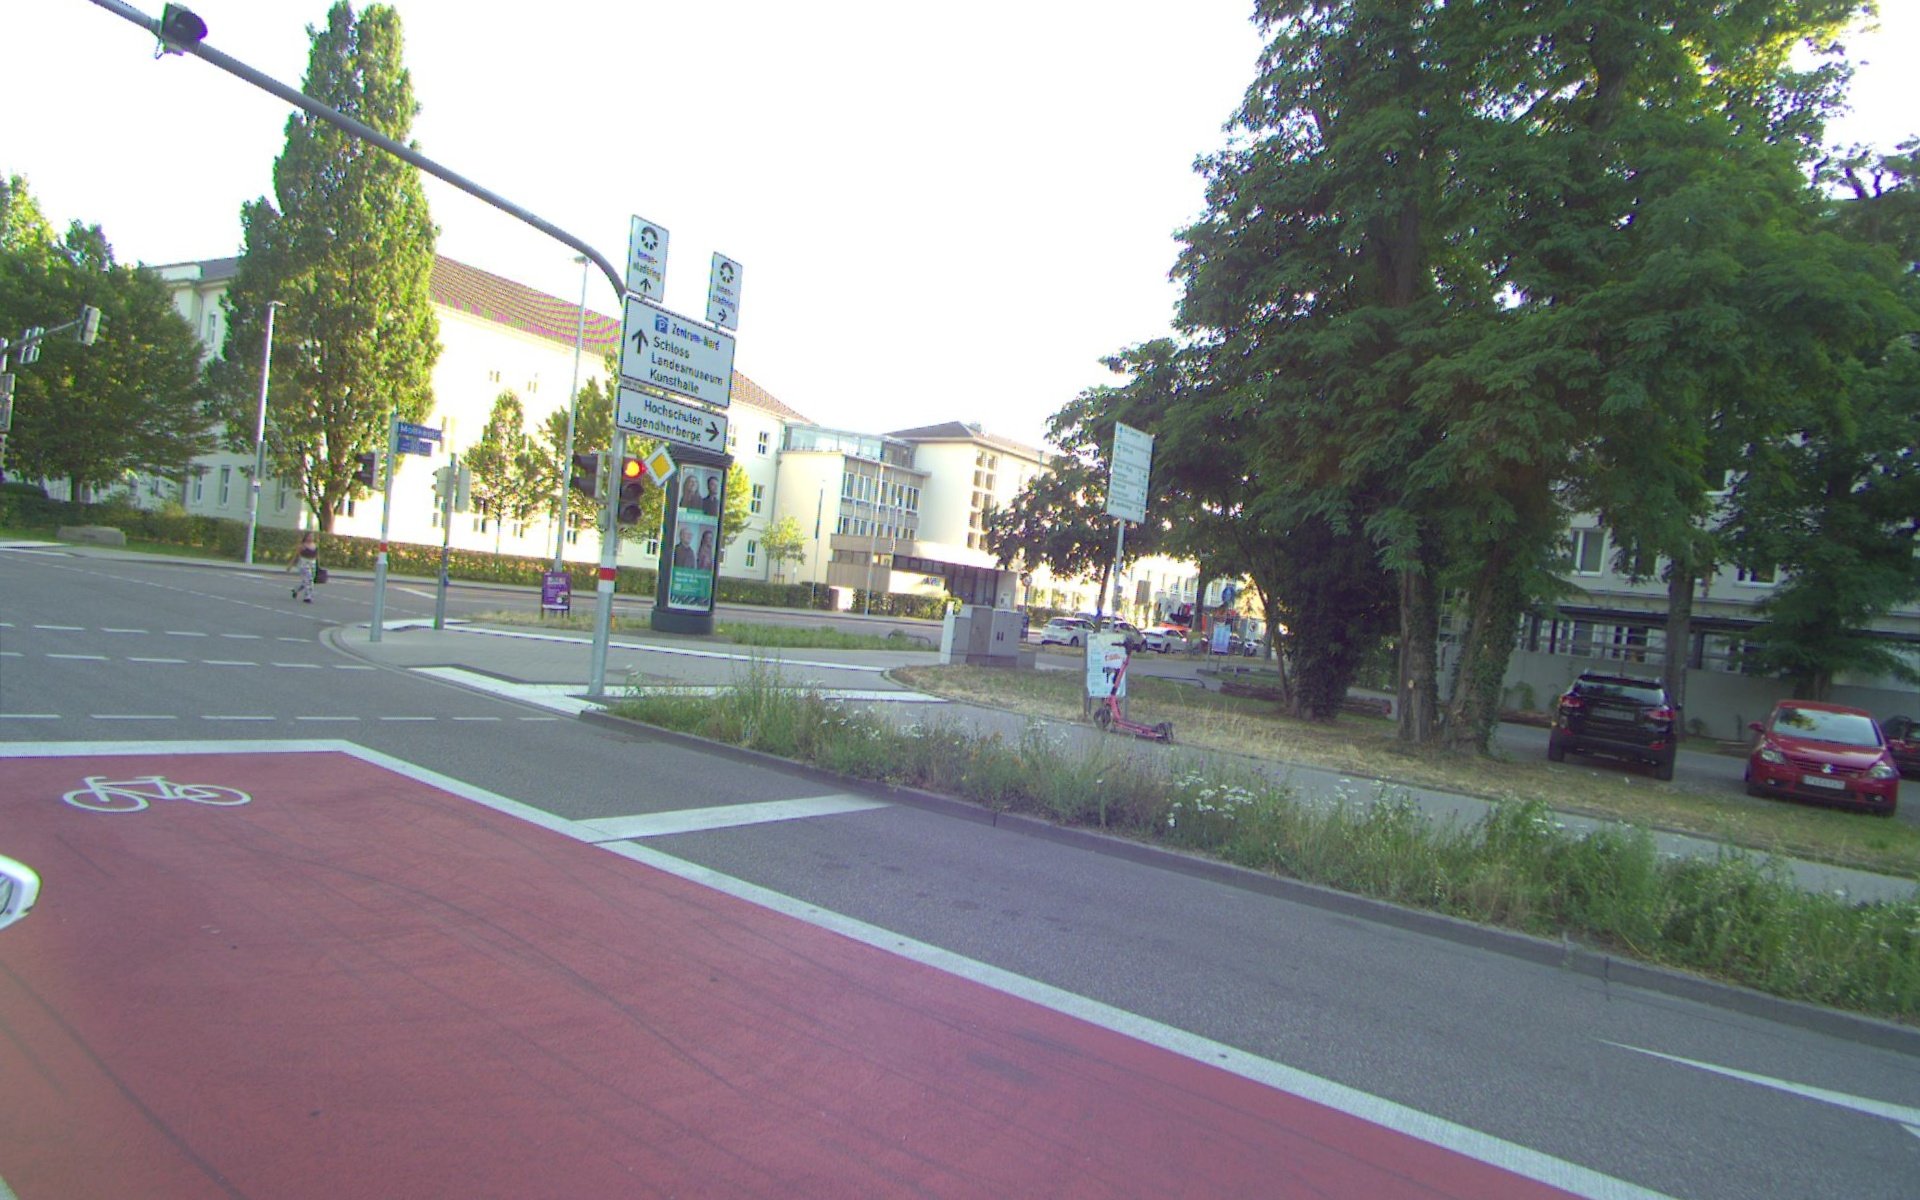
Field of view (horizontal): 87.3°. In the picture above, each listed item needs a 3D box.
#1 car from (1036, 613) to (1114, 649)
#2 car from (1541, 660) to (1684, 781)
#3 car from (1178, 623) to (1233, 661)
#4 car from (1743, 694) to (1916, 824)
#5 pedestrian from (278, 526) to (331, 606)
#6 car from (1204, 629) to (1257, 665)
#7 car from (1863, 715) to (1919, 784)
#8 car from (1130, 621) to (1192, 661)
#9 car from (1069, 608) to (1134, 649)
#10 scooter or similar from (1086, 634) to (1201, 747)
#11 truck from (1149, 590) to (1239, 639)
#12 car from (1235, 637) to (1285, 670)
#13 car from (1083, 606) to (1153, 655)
[{"bbox_3d":[5.474,1.490,47.708,1.793,1.358,3.985,6,0,37],"label":"car"},{"bbox_3d":[11.761,2.109,18.064,1.808,1.715,3.899,7,-1,36],"label":"car"},{"bbox_3d":[14.604,2.494,59.728,1.698,1.879,3.989,7,-1,35],"label":"car"},{"bbox_3d":[13.990,2.452,16.403,1.759,1.581,3.984,7,0,38],"label":"car"},{"bbox_3d":[-14.430,-0.749,22.135,0.680,1.656,0.600,8,1,33],"label":"pedestrian"},{"bbox_3d":[17.219,3.030,63.858,1.789,1.893,4.136,7,-1,35],"label":"car"},{"bbox_3d":[23.176,3.619,24.032,1.873,1.459,3.987,7,-1,37],"label":"car"},{"bbox_3d":[11.071,2.268,55.105,1.720,1.783,3.989,7,-1,35],"label":"car"},{"bbox_3d":[7.811,1.589,55.263,1.720,1.783,3.989,7,-1,35],"label":"car"},{"bbox_3d":[2.325,1.134,12.808,1.289,1.247,0.311,7,1,32],"label":"scooter or similar"},{"bbox_3d":[15.857,1.060,67.463,2.327,2.315,10.049,7,-1,34],"label":"truck"},{"bbox_3d":[20.369,3.655,68.236,1.873,1.831,3.988,7,-1,36],"label":"car"},{"bbox_3d":[8.062,1.583,51.188,1.713,2.038,3.988,7,-1,36],"label":"car"}]
